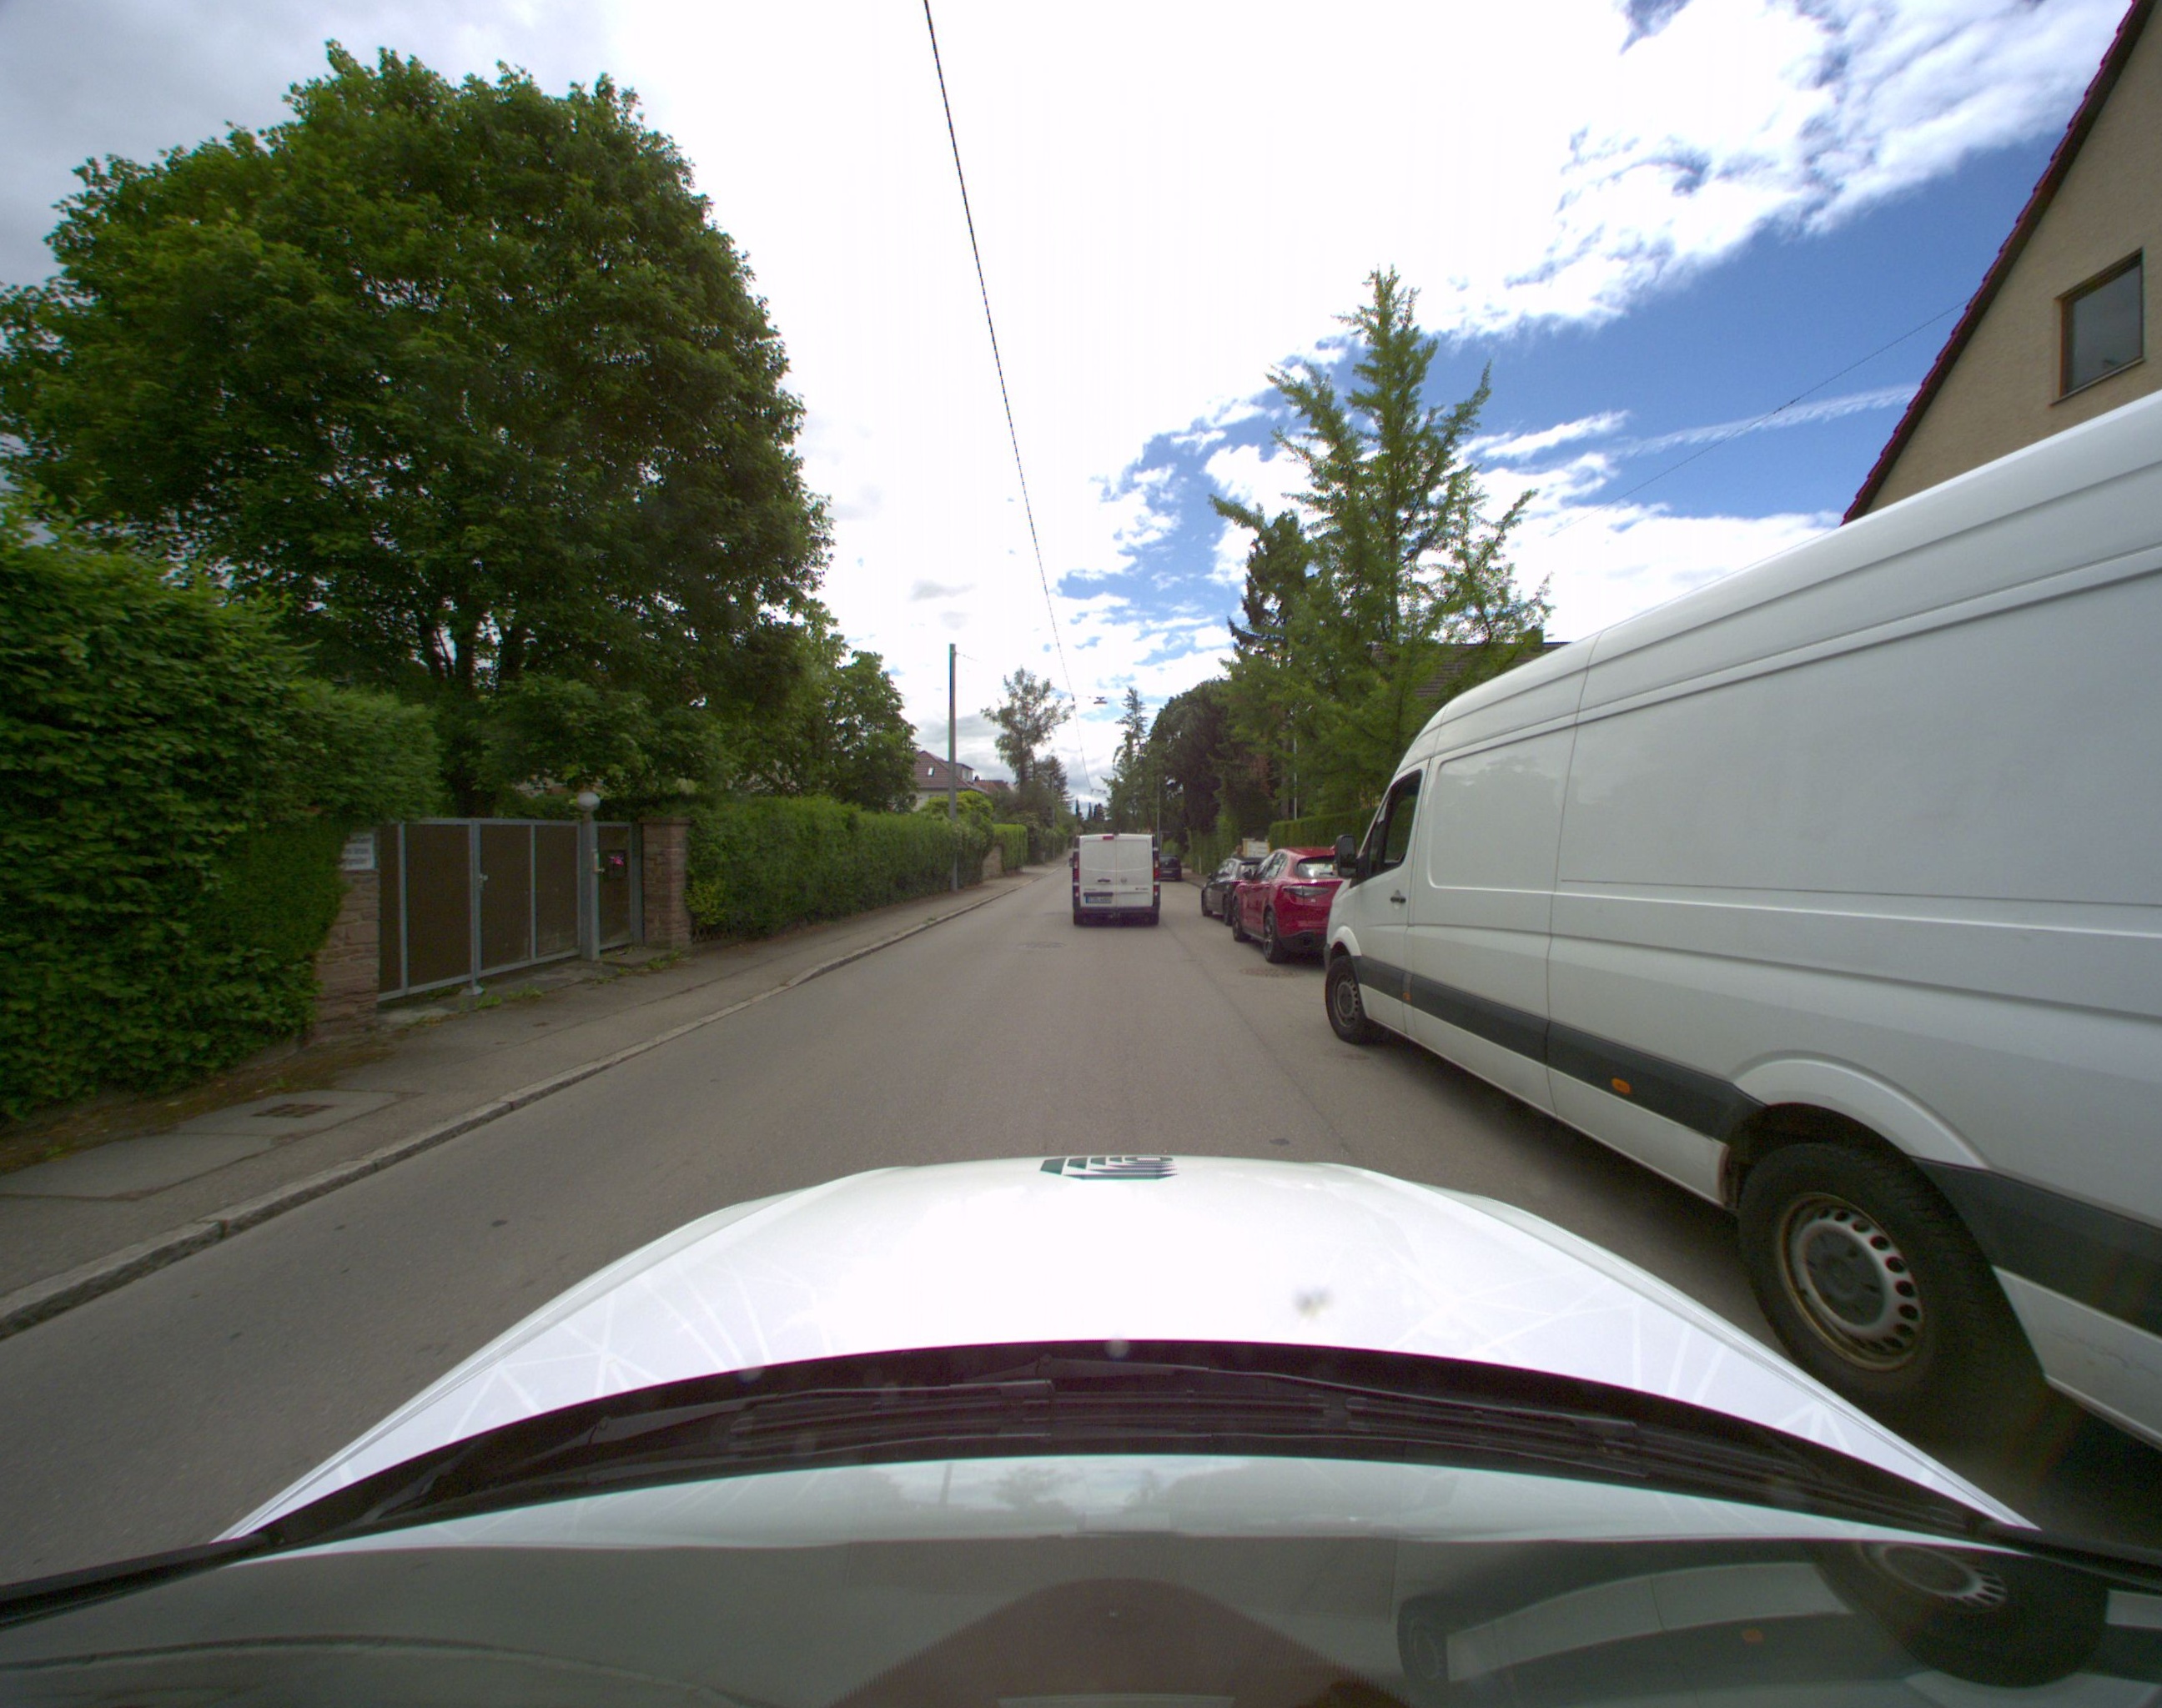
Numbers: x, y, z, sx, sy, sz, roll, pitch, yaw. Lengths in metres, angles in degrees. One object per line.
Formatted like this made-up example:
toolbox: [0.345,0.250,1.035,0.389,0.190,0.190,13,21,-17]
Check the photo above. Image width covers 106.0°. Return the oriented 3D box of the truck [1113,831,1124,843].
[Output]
truck: [8.025,-3.610,175.156,2.179,2.471,7.434,1,2,1]

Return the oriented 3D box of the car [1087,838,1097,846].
car: [2.373,-2.574,174.599,1.797,1.431,4.306,-3,1,4]

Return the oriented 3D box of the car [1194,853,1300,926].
car: [3.649,0.712,18.553,1.672,1.407,4.056,-2,0,2]

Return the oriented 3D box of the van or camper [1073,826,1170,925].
van or camper: [0.854,0.408,18.679,1.932,1.954,4.766,1,0,1]

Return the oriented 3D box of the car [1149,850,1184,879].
car: [4.654,0.547,44.792,1.617,1.473,3.742,0,1,2]

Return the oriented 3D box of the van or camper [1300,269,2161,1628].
van or camper: [3.088,0.169,4.063,2.035,2.620,7.037,1,0,0]

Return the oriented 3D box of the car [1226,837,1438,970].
car: [3.520,0.590,12.422,1.881,1.581,4.768,-2,0,2]

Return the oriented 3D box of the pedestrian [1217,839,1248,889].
pedestrian: [5.222,0.332,28.076,0.671,1.698,0.913,-2,0,-16]
